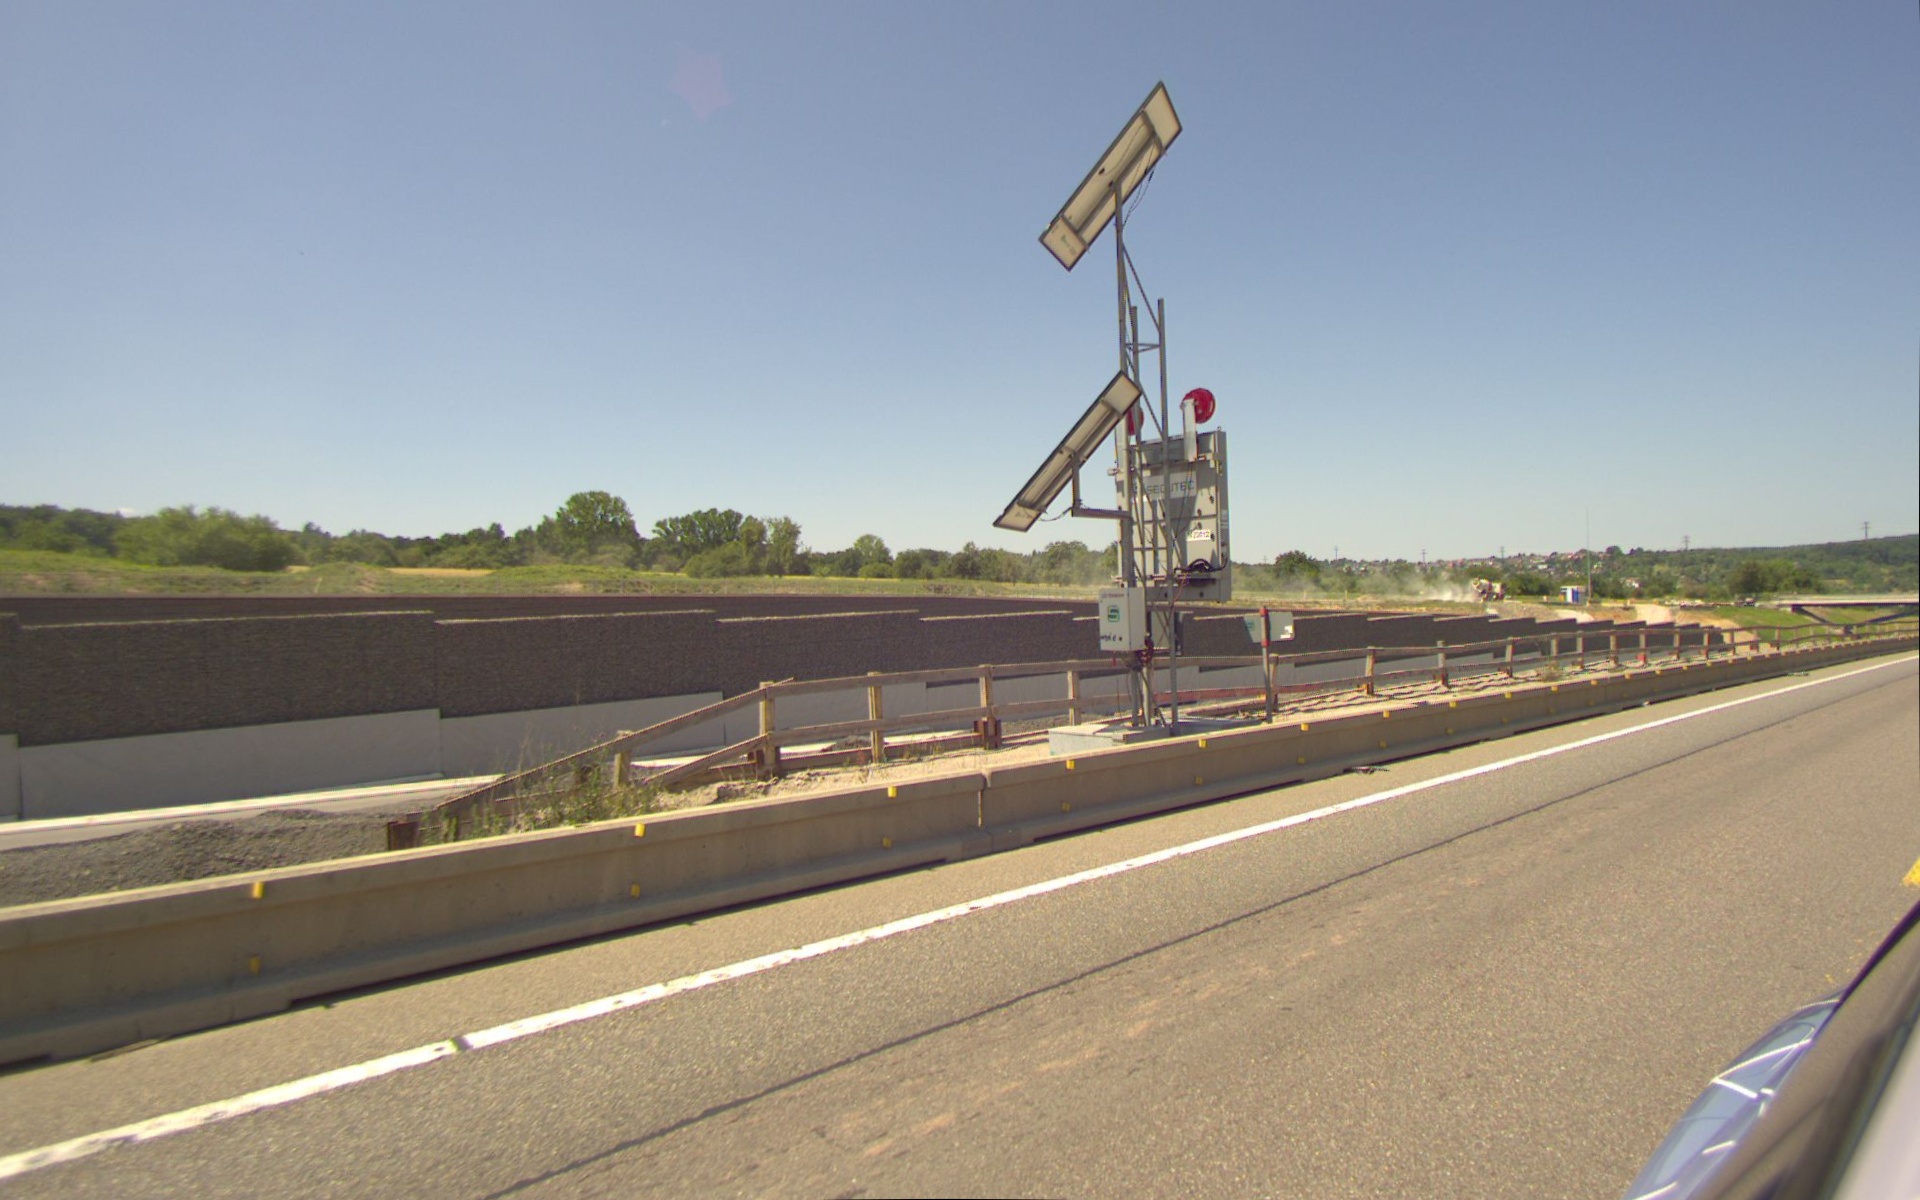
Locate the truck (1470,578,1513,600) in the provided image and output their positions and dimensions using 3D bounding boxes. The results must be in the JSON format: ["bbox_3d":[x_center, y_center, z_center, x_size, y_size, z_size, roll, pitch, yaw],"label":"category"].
[{"bbox_3d":[90.649,-1.829,172.510,8.596,3.510,3.155,0,-2,-38],"label":"truck"}]
